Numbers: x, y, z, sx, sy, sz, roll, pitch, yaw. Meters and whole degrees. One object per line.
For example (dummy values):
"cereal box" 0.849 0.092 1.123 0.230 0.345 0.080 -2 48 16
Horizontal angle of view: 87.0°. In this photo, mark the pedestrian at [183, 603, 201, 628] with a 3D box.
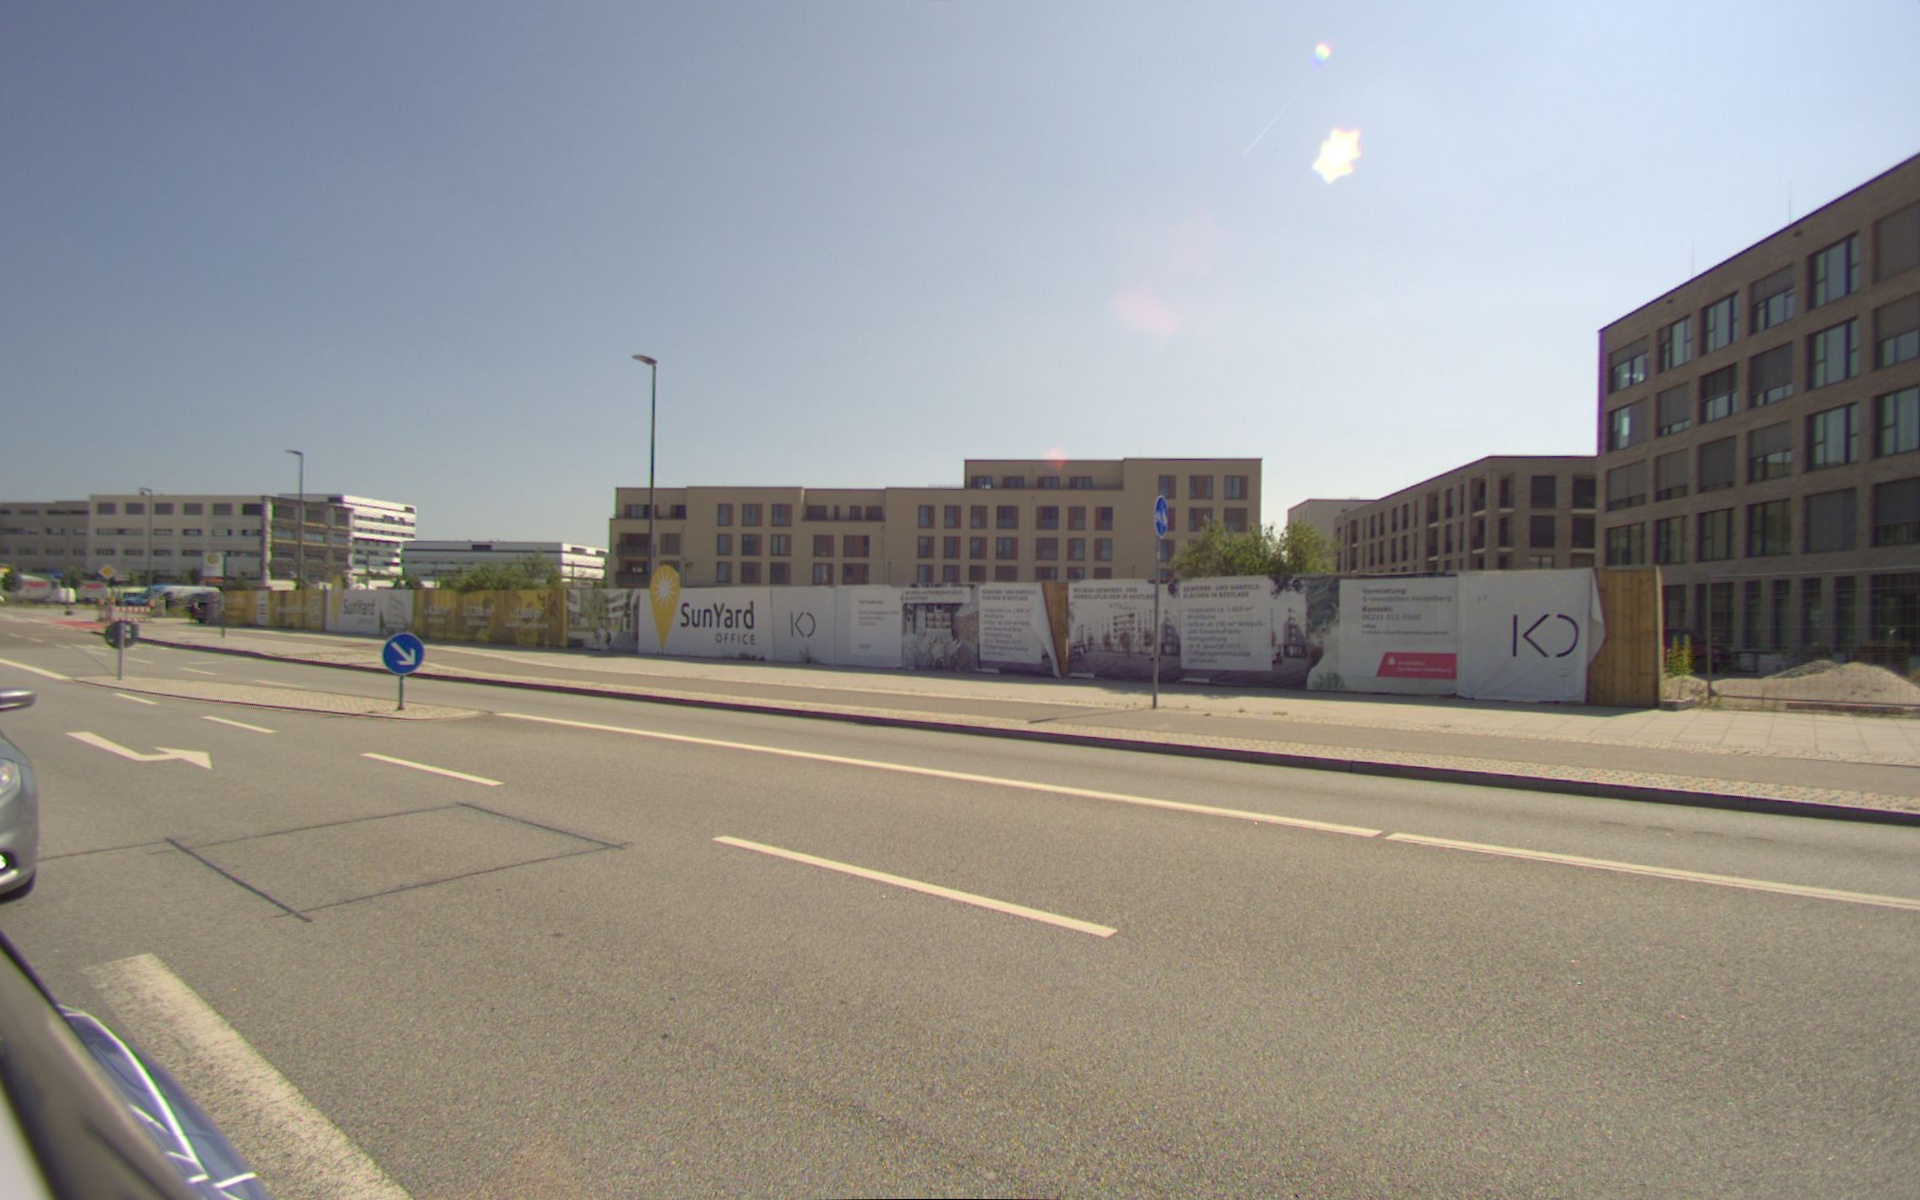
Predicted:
"pedestrian" -48.984 0.994 64.531 0.610 1.598 0.703 -1 0 5

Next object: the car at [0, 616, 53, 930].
"car" -6.284 0.796 5.330 4.134 1.390 1.762 -1 0 41
